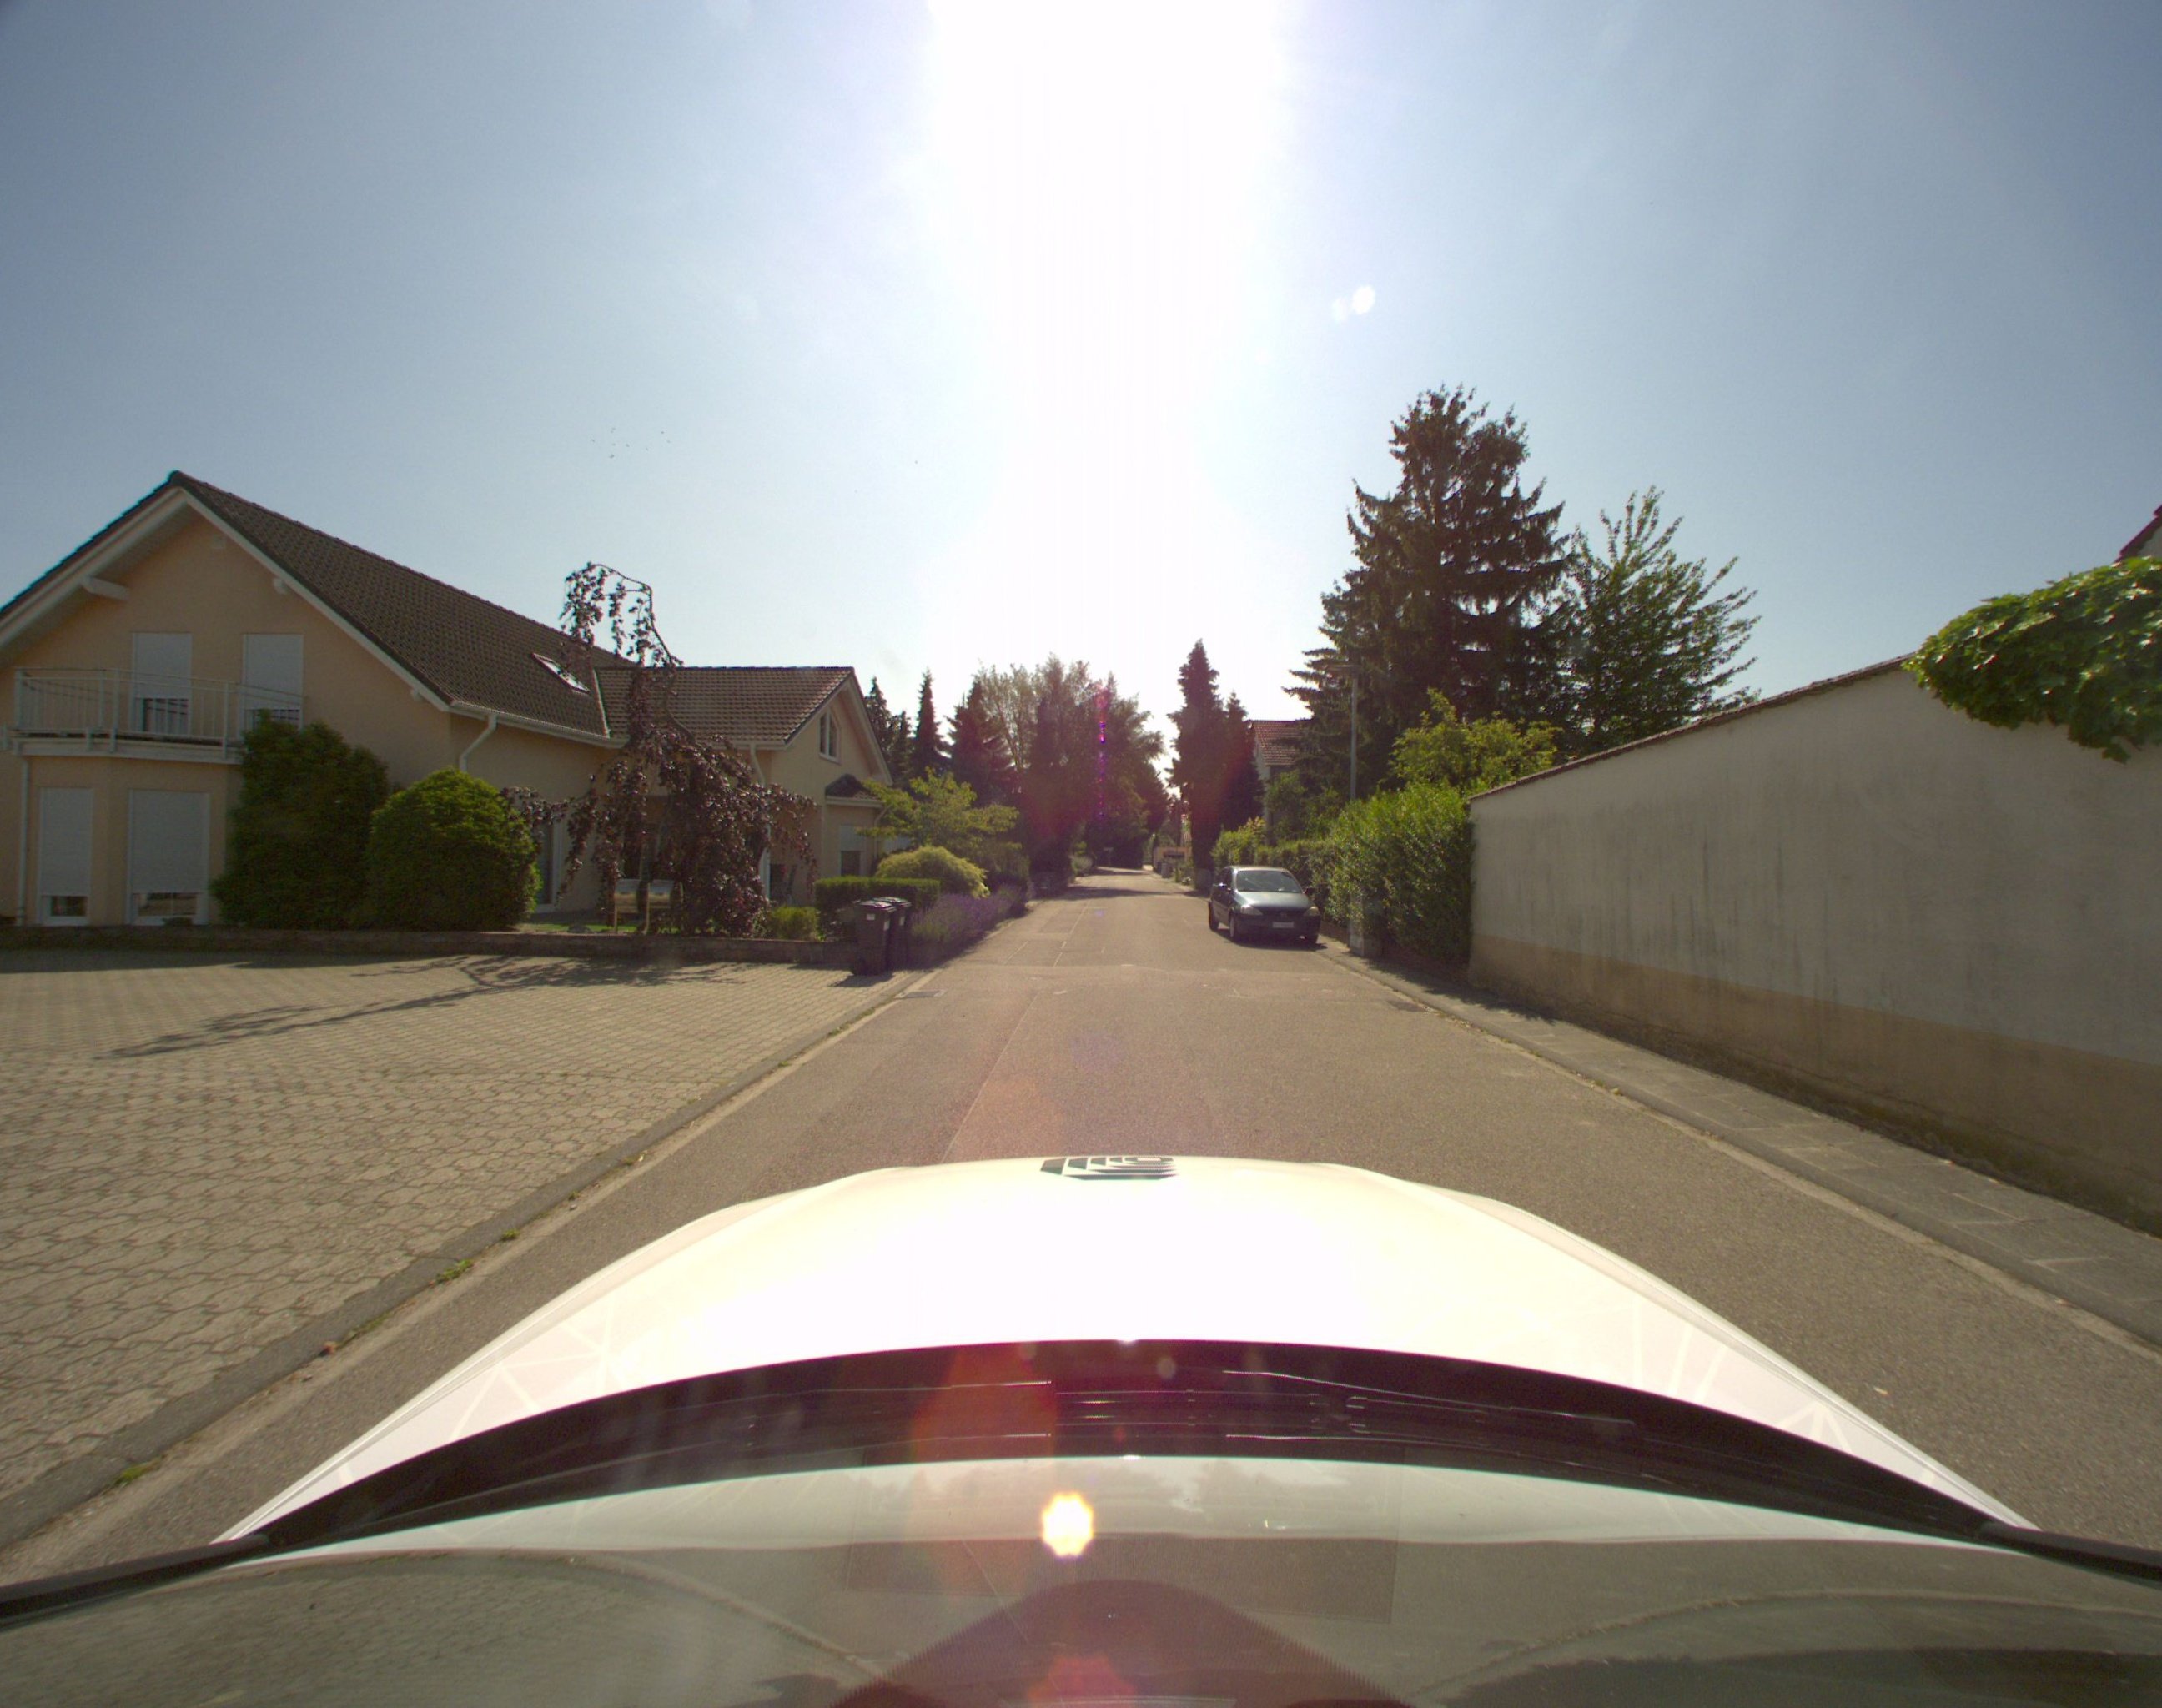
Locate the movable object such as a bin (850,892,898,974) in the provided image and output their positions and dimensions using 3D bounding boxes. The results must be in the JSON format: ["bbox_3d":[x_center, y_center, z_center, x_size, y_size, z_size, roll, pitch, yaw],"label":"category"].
[{"bbox_3d":[-2.711,1.027,10.692,0.492,1.024,0.448,0,-1,2],"label":"movable object such as a bin"}]

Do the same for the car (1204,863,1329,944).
[{"bbox_3d":[3.636,0.906,16.616,1.696,1.399,4.001,2,0,1],"label":"car"}]

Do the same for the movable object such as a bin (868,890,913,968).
[{"bbox_3d":[-2.602,1.019,11.156,0.492,1.024,0.448,0,-1,2],"label":"movable object such as a bin"}]
